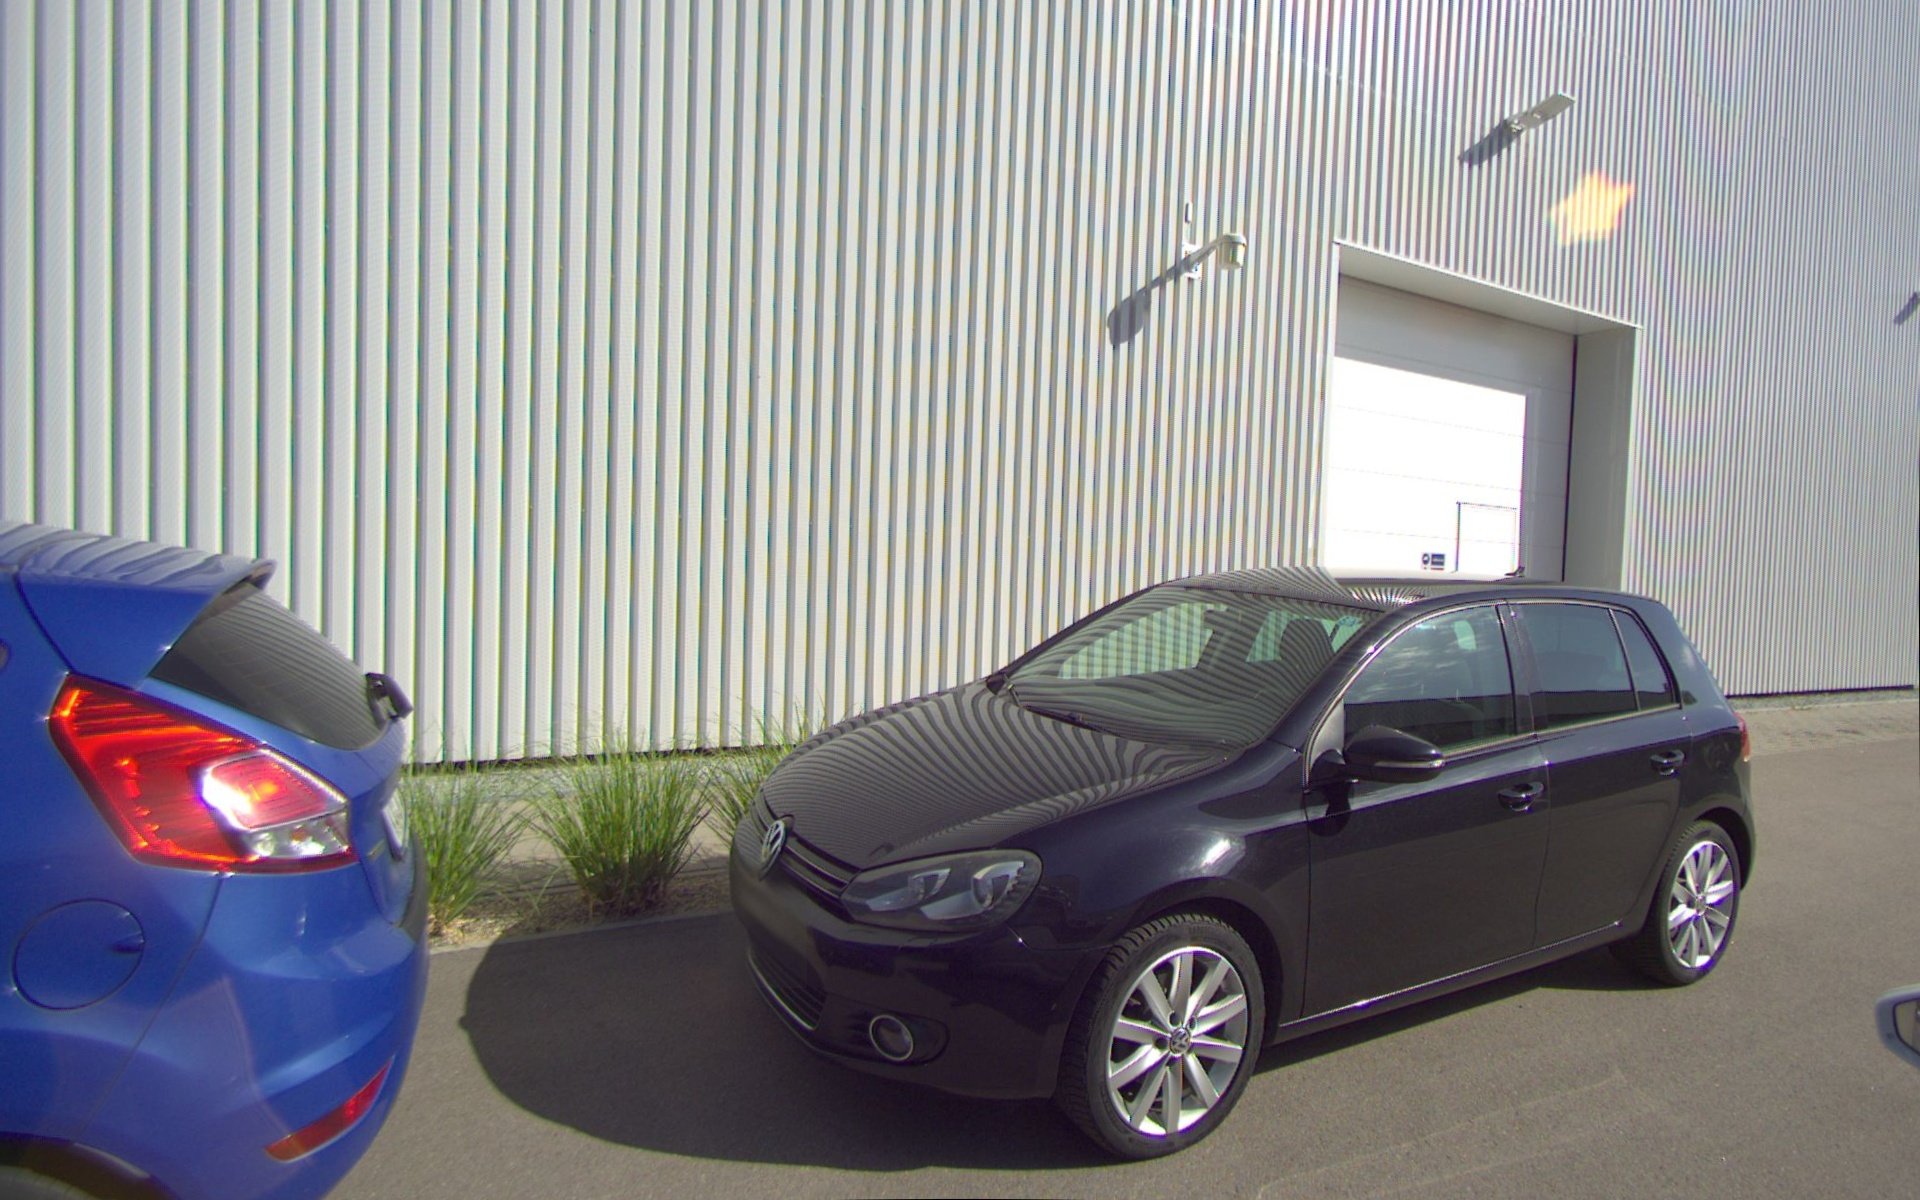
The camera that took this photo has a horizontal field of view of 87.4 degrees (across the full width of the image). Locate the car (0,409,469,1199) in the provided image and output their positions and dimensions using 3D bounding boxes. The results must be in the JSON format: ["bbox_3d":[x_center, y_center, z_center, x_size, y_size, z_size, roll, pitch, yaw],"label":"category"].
[{"bbox_3d":[-2.682,0.440,1.406,3.481,1.509,1.540,1,4,-31],"label":"car"}]

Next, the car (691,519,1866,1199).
[{"bbox_3d":[1.336,0.543,3.828,4.261,1.465,1.748,1,4,-29],"label":"car"}]
